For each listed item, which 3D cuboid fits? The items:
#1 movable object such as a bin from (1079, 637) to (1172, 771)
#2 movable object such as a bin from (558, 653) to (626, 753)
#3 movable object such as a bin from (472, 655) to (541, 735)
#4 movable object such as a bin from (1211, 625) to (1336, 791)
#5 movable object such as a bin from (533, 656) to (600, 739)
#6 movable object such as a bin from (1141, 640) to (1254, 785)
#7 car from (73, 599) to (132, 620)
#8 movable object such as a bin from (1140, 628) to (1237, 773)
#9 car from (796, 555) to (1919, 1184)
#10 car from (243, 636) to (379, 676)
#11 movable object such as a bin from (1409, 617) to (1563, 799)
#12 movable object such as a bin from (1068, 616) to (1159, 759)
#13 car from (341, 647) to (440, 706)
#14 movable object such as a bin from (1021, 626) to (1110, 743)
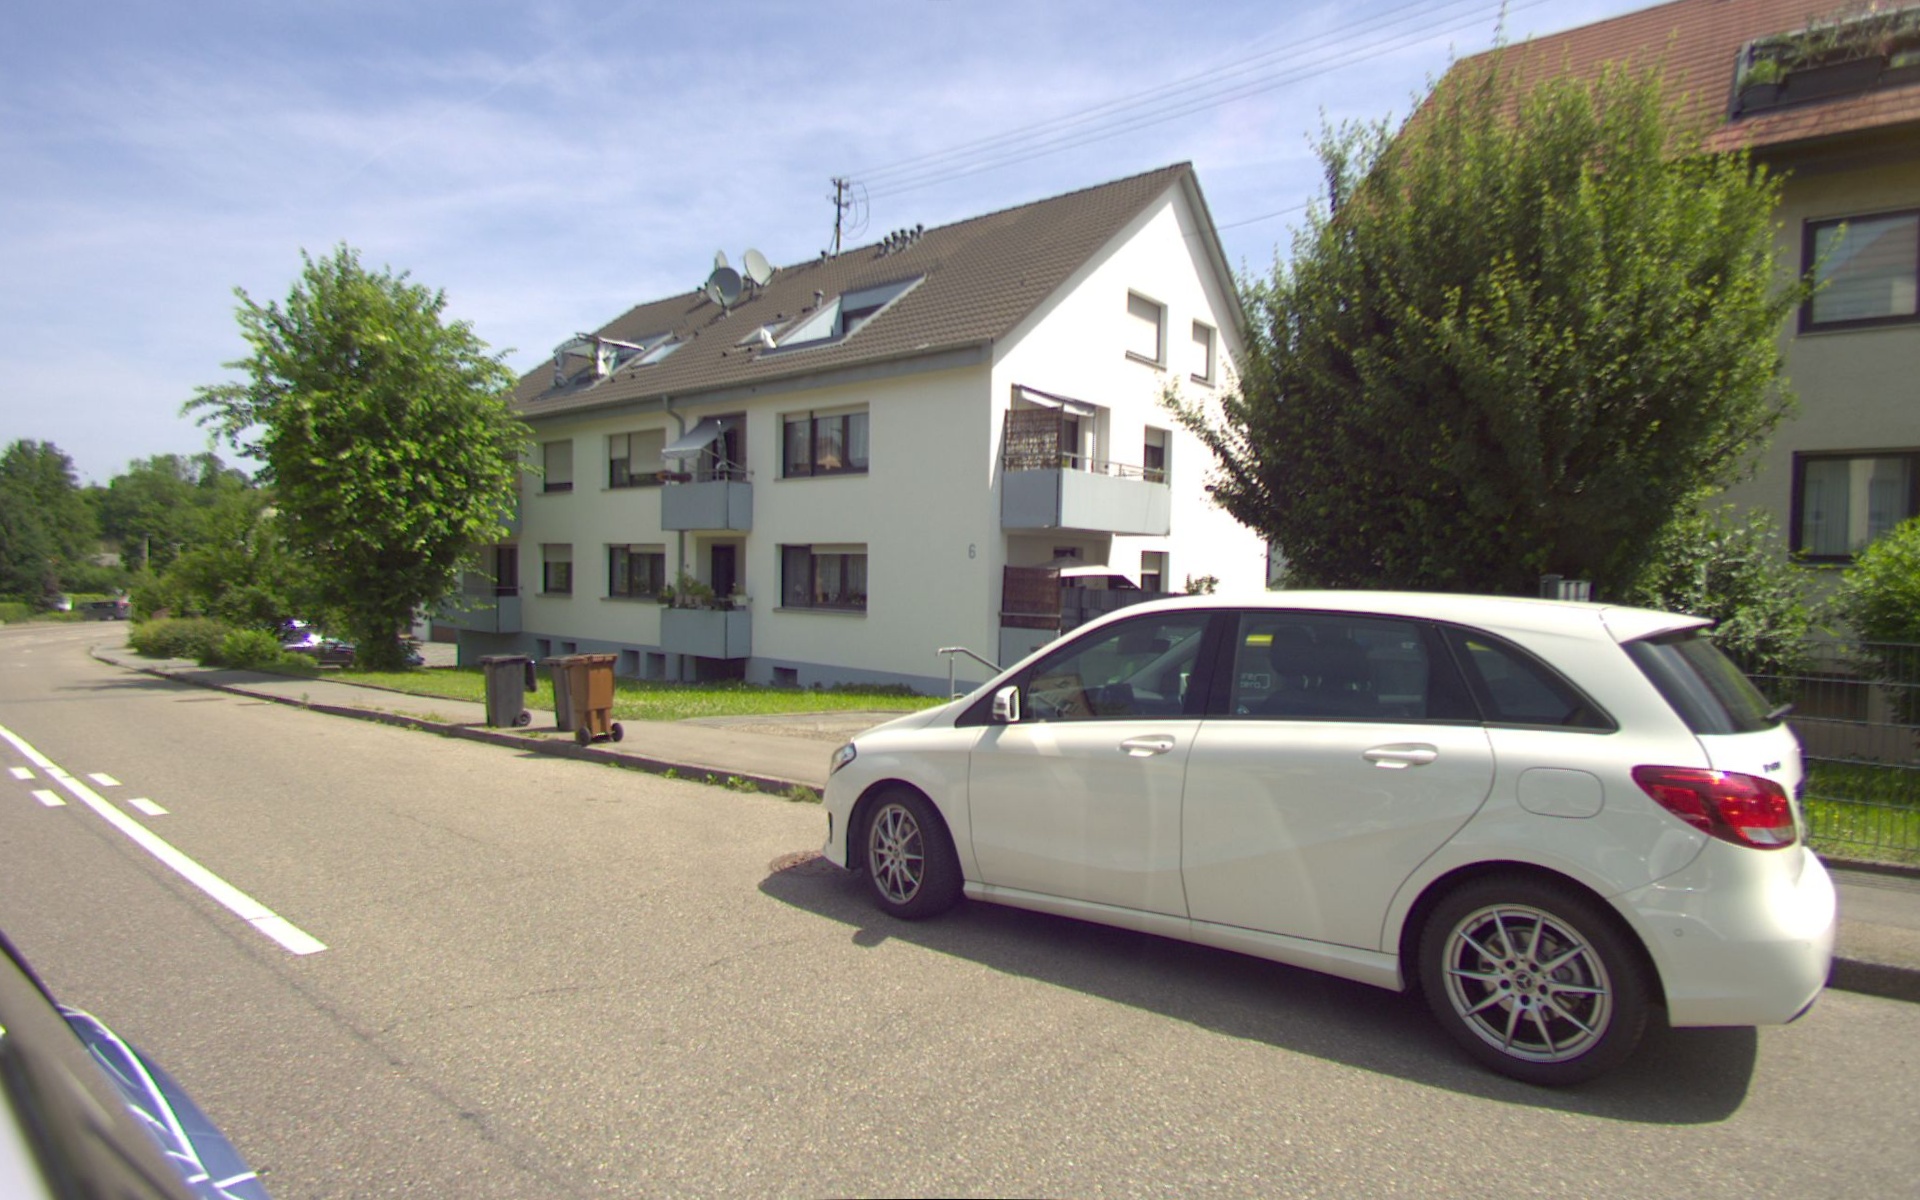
[{"bbox_3d":[1.559,0.955,9.555,0.540,1.187,0.674,1,-1,-43],"label":"movable object such as a bin"},{"bbox_3d":[-3.889,1.068,10.678,0.500,0.995,0.564,0,-1,-42],"label":"movable object such as a bin"},{"bbox_3d":[-5.661,1.168,12.621,0.612,0.924,0.687,0,-1,-42],"label":"movable object such as a bin"},{"bbox_3d":[2.268,0.752,7.328,0.710,1.113,0.491,0,-2,43],"label":"movable object such as a bin"},{"bbox_3d":[-4.678,1.139,12.018,0.556,0.924,0.643,0,-1,-42],"label":"movable object such as a bin"},{"bbox_3d":[2.075,0.952,8.871,0.470,1.187,0.841,1,-1,-43],"label":"movable object such as a bin"},{"bbox_3d":[-81.715,0.910,96.476,3.844,1.964,1.961,0,-1,-16],"label":"car"},{"bbox_3d":[1.756,0.750,7.784,0.560,1.052,0.451,0,-2,43],"label":"movable object such as a bin"},{"bbox_3d":[1.362,0.709,4.525,4.239,1.561,1.793,-1,-1,40],"label":"car"},{"bbox_3d":[-24.217,2.102,37.882,1.646,1.256,3.915,-1,-6,41],"label":"car"},{"bbox_3d":[3.463,0.659,6.646,0.695,1.078,0.890,-1,-1,41],"label":"movable object such as a bin"},{"bbox_3d":[1.259,0.694,8.281,0.529,1.113,0.511,0,-2,41],"label":"movable object such as a bin"},{"bbox_3d":[-17.949,2.376,31.861,3.226,1.551,1.458,2,0,35],"label":"car"},{"bbox_3d":[1.050,0.816,10.080,0.595,1.104,0.651,0,-1,-42],"label":"movable object such as a bin"}]
